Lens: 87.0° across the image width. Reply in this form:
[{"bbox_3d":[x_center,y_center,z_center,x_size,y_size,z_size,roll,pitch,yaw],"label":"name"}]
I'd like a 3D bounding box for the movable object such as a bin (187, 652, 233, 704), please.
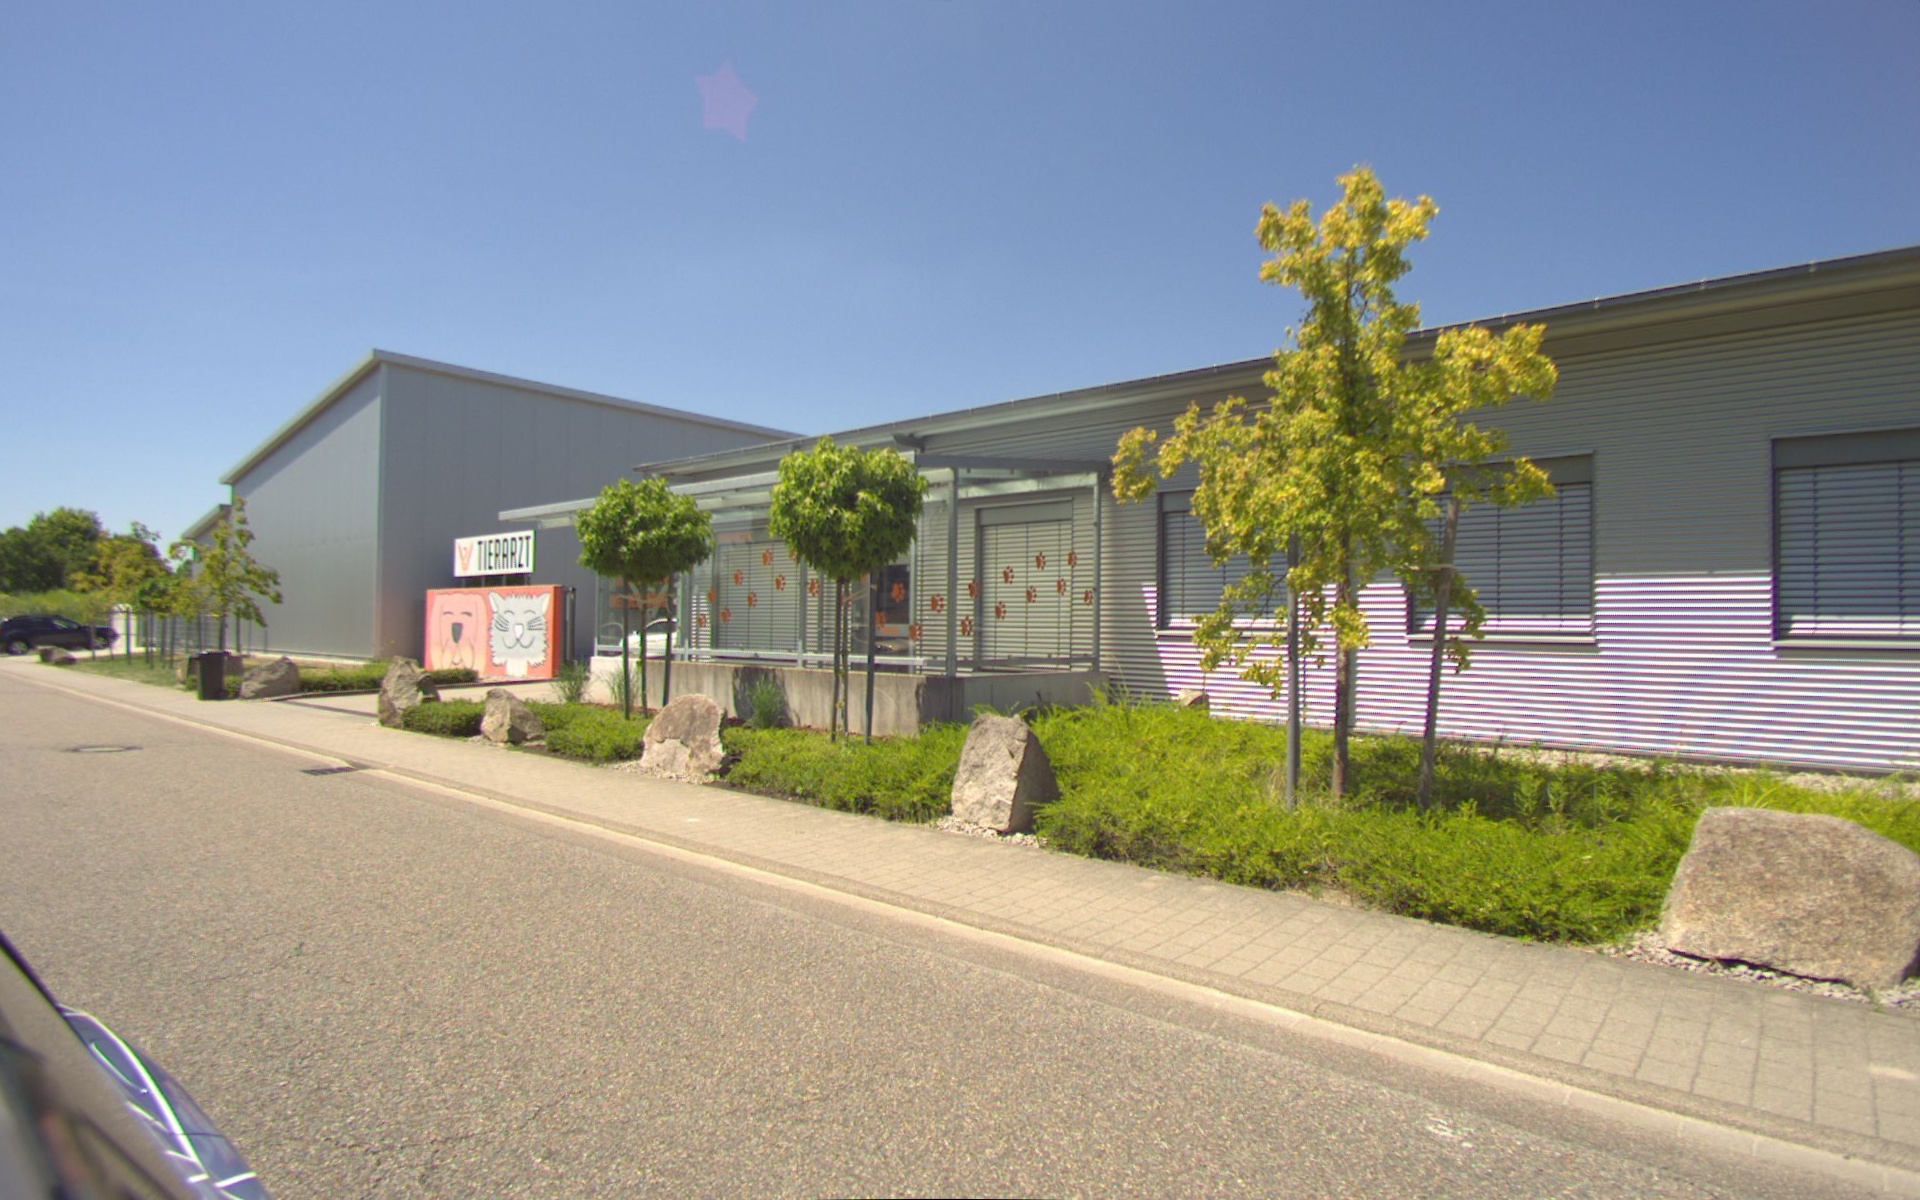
[{"bbox_3d":[-14.419,1.488,19.454,0.511,0.957,0.565,-1,-2,35],"label":"movable object such as a bin"}]

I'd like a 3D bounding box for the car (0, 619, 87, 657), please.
[{"bbox_3d":[-41.588,1.692,45.426,1.779,1.472,3.329,-1,3,38],"label":"car"}]

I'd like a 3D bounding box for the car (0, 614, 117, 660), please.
[{"bbox_3d":[-39.405,1.566,43.870,1.781,1.671,4.120,-1,3,40],"label":"car"}]

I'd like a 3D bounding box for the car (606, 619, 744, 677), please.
[{"bbox_3d":[-8.495,1.392,30.101,3.991,1.596,1.890,-1,-2,35],"label":"car"}]
